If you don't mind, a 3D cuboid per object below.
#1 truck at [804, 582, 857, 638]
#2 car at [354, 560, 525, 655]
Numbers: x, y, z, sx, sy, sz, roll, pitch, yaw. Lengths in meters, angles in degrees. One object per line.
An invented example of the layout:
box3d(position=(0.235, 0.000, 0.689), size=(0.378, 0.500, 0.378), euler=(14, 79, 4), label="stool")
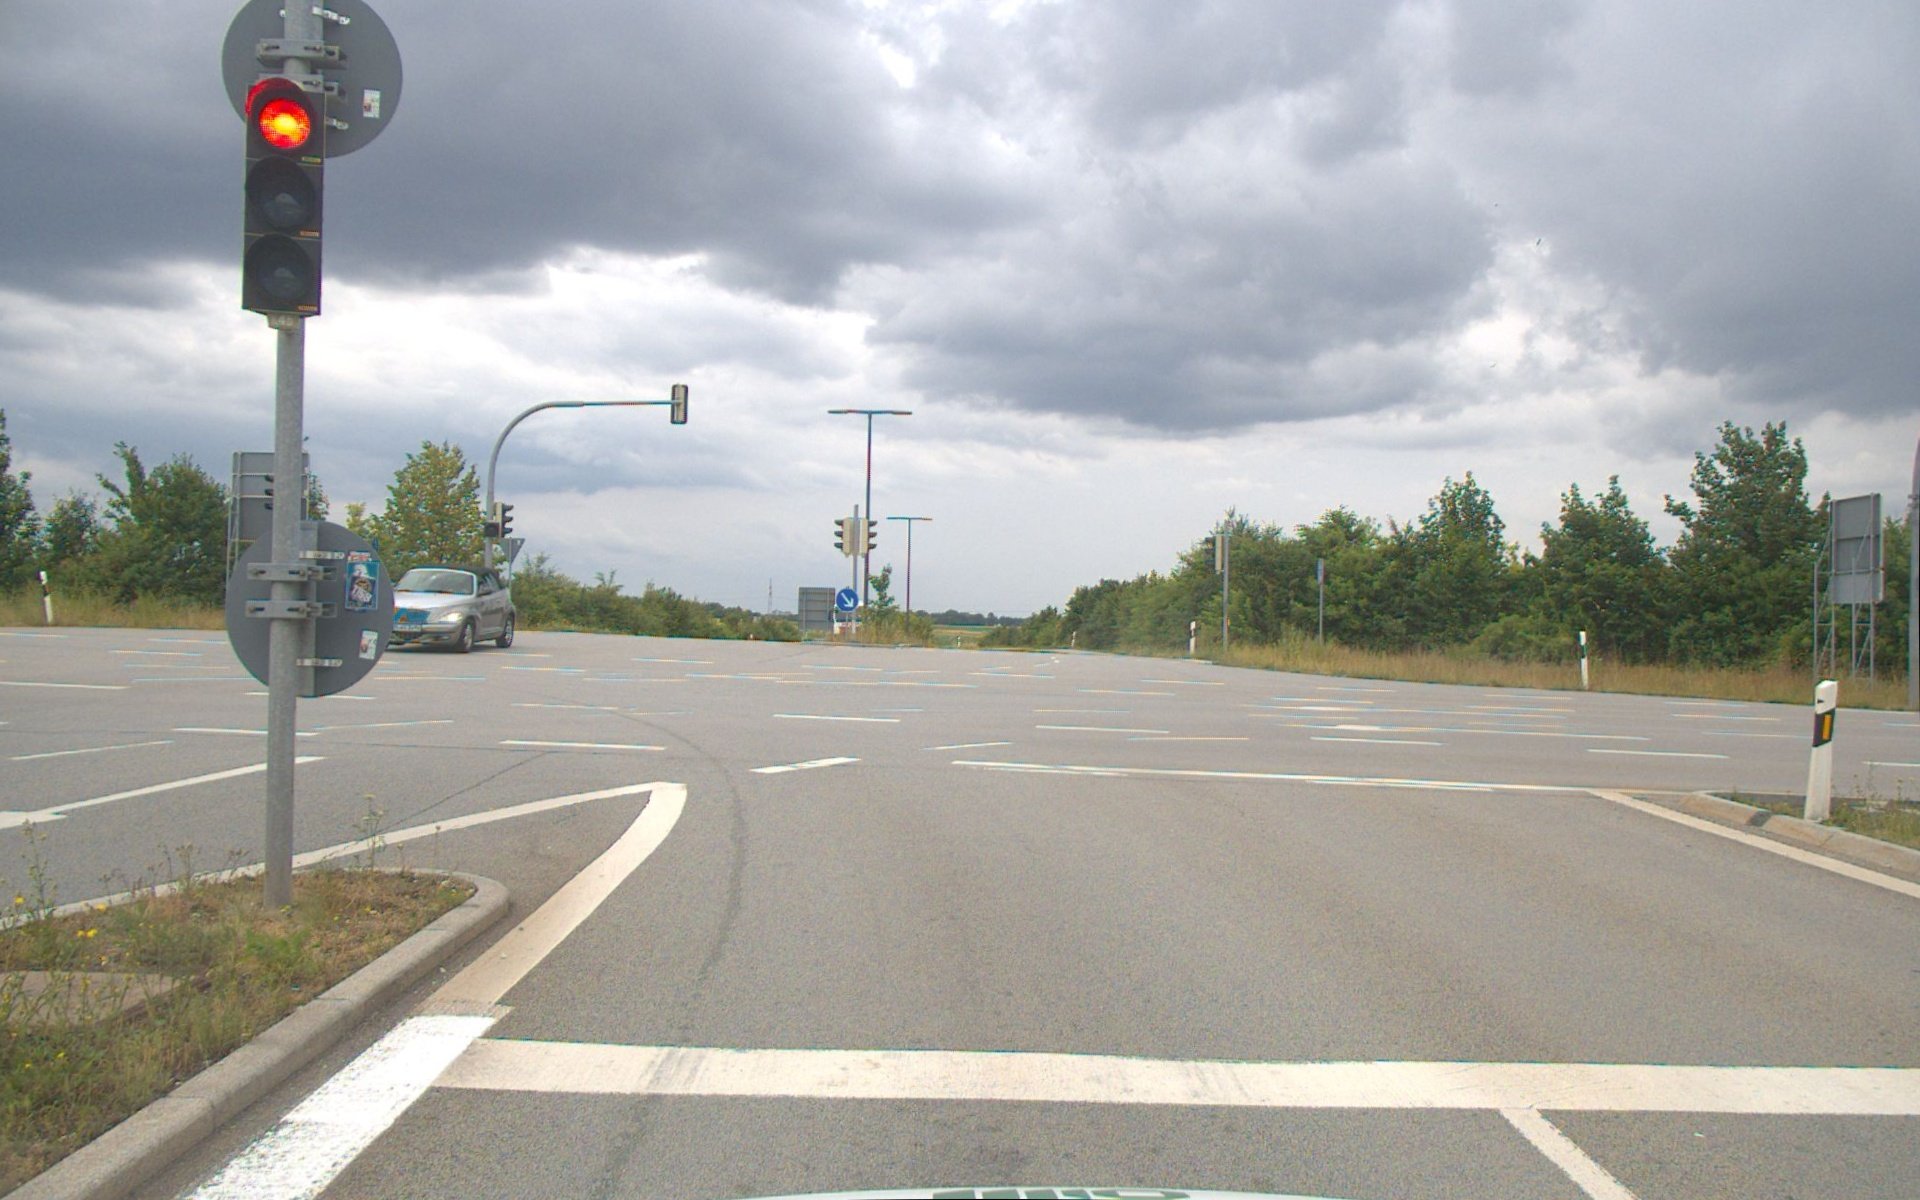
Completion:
box3d(position=(-8.479, 0.752, 108.968), size=(2.811, 3.468, 8.648), euler=(1, -1, 0), label="truck")
box3d(position=(-9.349, 0.088, 30.063), size=(1.773, 1.546, 4.242), euler=(2, 1, -1), label="car")
